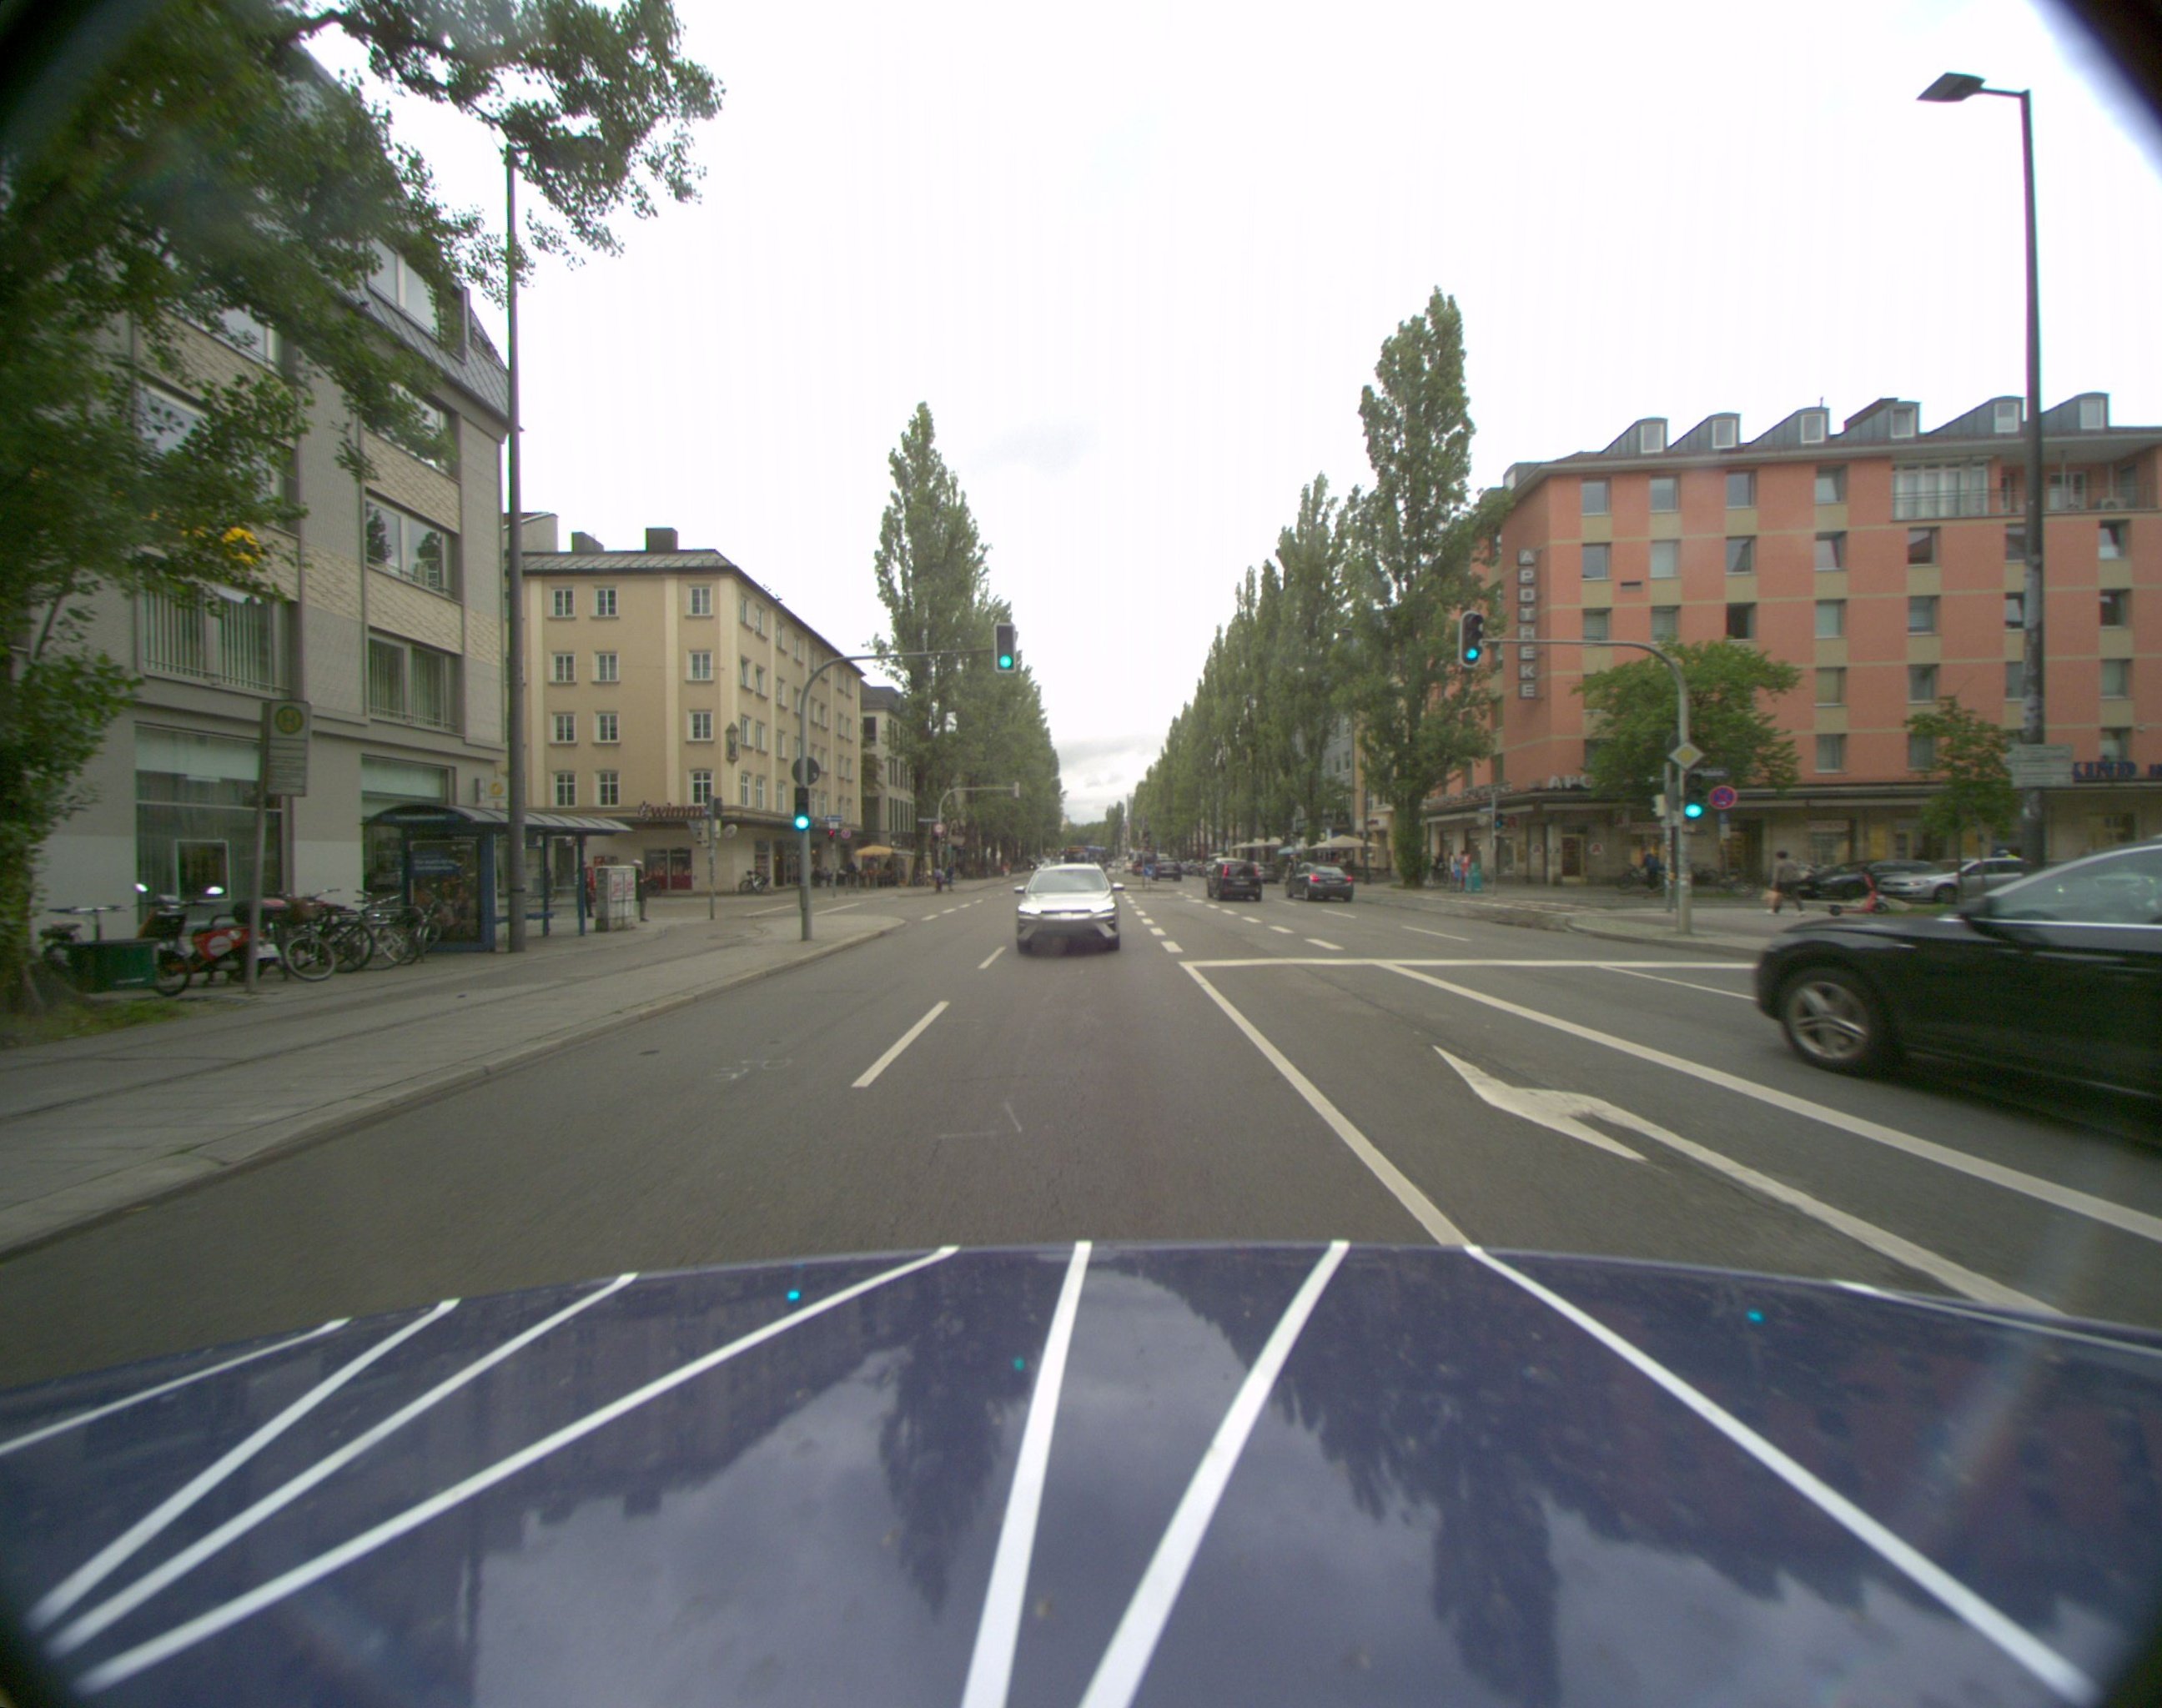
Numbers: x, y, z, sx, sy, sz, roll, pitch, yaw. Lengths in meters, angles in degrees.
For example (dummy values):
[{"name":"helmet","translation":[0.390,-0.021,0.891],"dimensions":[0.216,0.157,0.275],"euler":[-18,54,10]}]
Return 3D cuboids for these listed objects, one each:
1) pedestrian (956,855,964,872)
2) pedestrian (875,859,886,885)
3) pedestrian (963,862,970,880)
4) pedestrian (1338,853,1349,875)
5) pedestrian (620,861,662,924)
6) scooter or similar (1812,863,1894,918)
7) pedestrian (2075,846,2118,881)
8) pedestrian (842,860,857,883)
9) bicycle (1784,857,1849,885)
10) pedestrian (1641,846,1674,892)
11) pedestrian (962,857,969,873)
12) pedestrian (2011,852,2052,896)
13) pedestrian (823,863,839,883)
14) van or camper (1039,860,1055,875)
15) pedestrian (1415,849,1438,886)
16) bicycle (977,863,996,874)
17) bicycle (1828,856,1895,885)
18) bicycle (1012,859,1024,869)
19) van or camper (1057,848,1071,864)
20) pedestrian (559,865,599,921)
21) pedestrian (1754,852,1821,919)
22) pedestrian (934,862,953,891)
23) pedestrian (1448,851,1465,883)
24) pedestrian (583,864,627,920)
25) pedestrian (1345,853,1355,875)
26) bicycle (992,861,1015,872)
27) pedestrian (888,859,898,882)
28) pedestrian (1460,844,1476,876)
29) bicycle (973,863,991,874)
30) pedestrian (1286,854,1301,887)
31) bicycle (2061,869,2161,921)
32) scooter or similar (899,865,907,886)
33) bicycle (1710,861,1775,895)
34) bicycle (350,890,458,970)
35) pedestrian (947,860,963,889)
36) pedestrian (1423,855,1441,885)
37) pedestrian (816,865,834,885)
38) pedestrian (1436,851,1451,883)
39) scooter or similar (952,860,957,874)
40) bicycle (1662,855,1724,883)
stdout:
[{"name":"pedestrian","translation":[-12.874,0.993,80.607],"dimensions":[0.658,1.840,0.906],"euler":[-1,0,2]},{"name":"pedestrian","translation":[-13.032,1.179,49.356],"dimensions":[0.541,1.663,0.537],"euler":[-1,0,7]},{"name":"pedestrian","translation":[-12.124,1.791,80.543],"dimensions":[0.658,1.959,0.722],"euler":[0,0,3]},{"name":"pedestrian","translation":[20.359,0.778,58.904],"dimensions":[0.556,1.629,0.692],"euler":[-1,0,0]},{"name":"pedestrian","translation":[-12.572,1.085,21.716],"dimensions":[0.710,1.747,0.752],"euler":[-1,0,2]},{"name":"scooter or similar","translation":[18.879,0.884,18.604],"dimensions":[1.362,1.331,0.439],"euler":[-1,0,21]},{"name":"pedestrian","translation":[41.054,0.383,30.728],"dimensions":[0.664,1.382,0.781],"euler":[-2,1,0]},{"name":"pedestrian","translation":[-15.875,1.211,52.163],"dimensions":[0.777,1.580,0.699],"euler":[-1,0,1]},{"name":"bicycle","translation":[31.384,0.728,32.429],"dimensions":[2.061,1.177,0.690],"euler":[-1,0,3]},{"name":"pedestrian","translation":[22.785,0.586,30.052],"dimensions":[0.780,1.756,0.692],"euler":[-1,0,1]},{"name":"pedestrian","translation":[-12.795,1.201,83.944],"dimensions":[0.658,1.774,0.674],"euler":[-1,0,2]},{"name":"pedestrian","translation":[38.421,0.792,30.717],"dimensions":[0.664,1.756,0.781],"euler":[-2,1,0]},{"name":"pedestrian","translation":[-16.164,1.242,49.211],"dimensions":[0.777,1.257,0.699],"euler":[-1,0,1]},{"name":"van or camper","translation":[-4.662,1.838,104.329],"dimensions":[1.795,1.894,4.566],"euler":[-1,0,1]},{"name":"pedestrian","translation":[16.765,0.630,36.868],"dimensions":[0.726,1.760,0.778],"euler":[-1,0,2]},{"name":"bicycle","translation":[-9.486,1.430,76.251],"dimensions":[1.871,1.129,0.339],"euler":[-1,0,-8]},{"name":"bicycle","translation":[33.170,0.705,32.292],"dimensions":[2.061,1.177,0.690],"euler":[-1,0,3]},{"name":"bicycle","translation":[-9.122,1.456,109.401],"dimensions":[0.829,1.403,2.594],"euler":[-2,0,-25]},{"name":"van or camper","translation":[-2.730,0.320,124.995],"dimensions":[1.998,2.470,6.643],"euler":[-2,0,0]},{"name":"pedestrian","translation":[-16.040,1.222,24.289],"dimensions":[0.752,1.747,0.711],"euler":[-1,0,2]},{"name":"pedestrian","translation":[17.363,0.751,18.707],"dimensions":[0.780,1.609,0.934],"euler":[-1,0,0]},{"name":"pedestrian","translation":[-7.387,1.210,40.821],"dimensions":[0.767,1.509,0.620],"euler":[2,3,45]},{"name":"pedestrian","translation":[20.131,0.682,40.765],"dimensions":[0.631,1.679,0.519],"euler":[-2,1,2]},{"name":"pedestrian","translation":[-15.258,1.202,24.369],"dimensions":[0.752,1.747,1.017],"euler":[-1,0,2]},{"name":"pedestrian","translation":[20.939,0.760,59.099],"dimensions":[0.556,1.707,0.692],"euler":[-1,0,0]},{"name":"bicycle","translation":[-8.859,1.444,86.747],"dimensions":[2.577,1.208,0.965],"euler":[-1,0,1]},{"name":"pedestrian","translation":[-13.504,1.172,54.591],"dimensions":[0.541,1.663,0.537],"euler":[-1,0,7]},{"name":"pedestrian","translation":[20.838,0.334,40.900],"dimensions":[0.588,1.681,0.514],"euler":[0,0,0]},{"name":"bicycle","translation":[-9.786,1.422,75.016],"dimensions":[1.666,1.100,0.396],"euler":[-1,0,-11]},{"name":"pedestrian","translation":[11.839,0.893,42.332],"dimensions":[0.736,1.785,0.994],"euler":[-2,1,19]},{"name":"bicycle","translation":[25.529,0.976,18.559],"dimensions":[0.416,1.177,2.031],"euler":[-1,0,-6]},{"name":"scooter or similar","translation":[-10.702,1.306,45.672],"dimensions":[0.408,1.236,1.370],"euler":[-1,0,-15]},{"name":"bicycle","translation":[23.893,0.837,27.489],"dimensions":[0.416,1.177,2.062],"euler":[-1,0,-6]},{"name":"bicycle","translation":[-11.455,1.244,12.838],"dimensions":[2.241,1.245,0.478],"euler":[-1,0,25]},{"name":"pedestrian","translation":[-7.102,1.138,42.835],"dimensions":[0.767,1.600,0.864],"euler":[-1,0,-3]},{"name":"pedestrian","translation":[18.634,0.858,40.353],"dimensions":[0.658,1.574,0.548],"euler":[-1,0,2]},{"name":"pedestrian","translation":[-15.978,1.306,47.450],"dimensions":[0.870,1.192,0.699],"euler":[-1,0,1]},{"name":"pedestrian","translation":[19.357,0.686,40.576],"dimensions":[0.508,1.660,0.626],"euler":[-1,0,2]},{"name":"scooter or similar","translation":[-11.794,1.229,70.788],"dimensions":[0.248,1.266,1.036],"euler":[-1,0,1]},{"name":"bicycle","translation":[26.354,0.639,32.725],"dimensions":[2.061,1.177,0.690],"euler":[-1,0,3]}]
